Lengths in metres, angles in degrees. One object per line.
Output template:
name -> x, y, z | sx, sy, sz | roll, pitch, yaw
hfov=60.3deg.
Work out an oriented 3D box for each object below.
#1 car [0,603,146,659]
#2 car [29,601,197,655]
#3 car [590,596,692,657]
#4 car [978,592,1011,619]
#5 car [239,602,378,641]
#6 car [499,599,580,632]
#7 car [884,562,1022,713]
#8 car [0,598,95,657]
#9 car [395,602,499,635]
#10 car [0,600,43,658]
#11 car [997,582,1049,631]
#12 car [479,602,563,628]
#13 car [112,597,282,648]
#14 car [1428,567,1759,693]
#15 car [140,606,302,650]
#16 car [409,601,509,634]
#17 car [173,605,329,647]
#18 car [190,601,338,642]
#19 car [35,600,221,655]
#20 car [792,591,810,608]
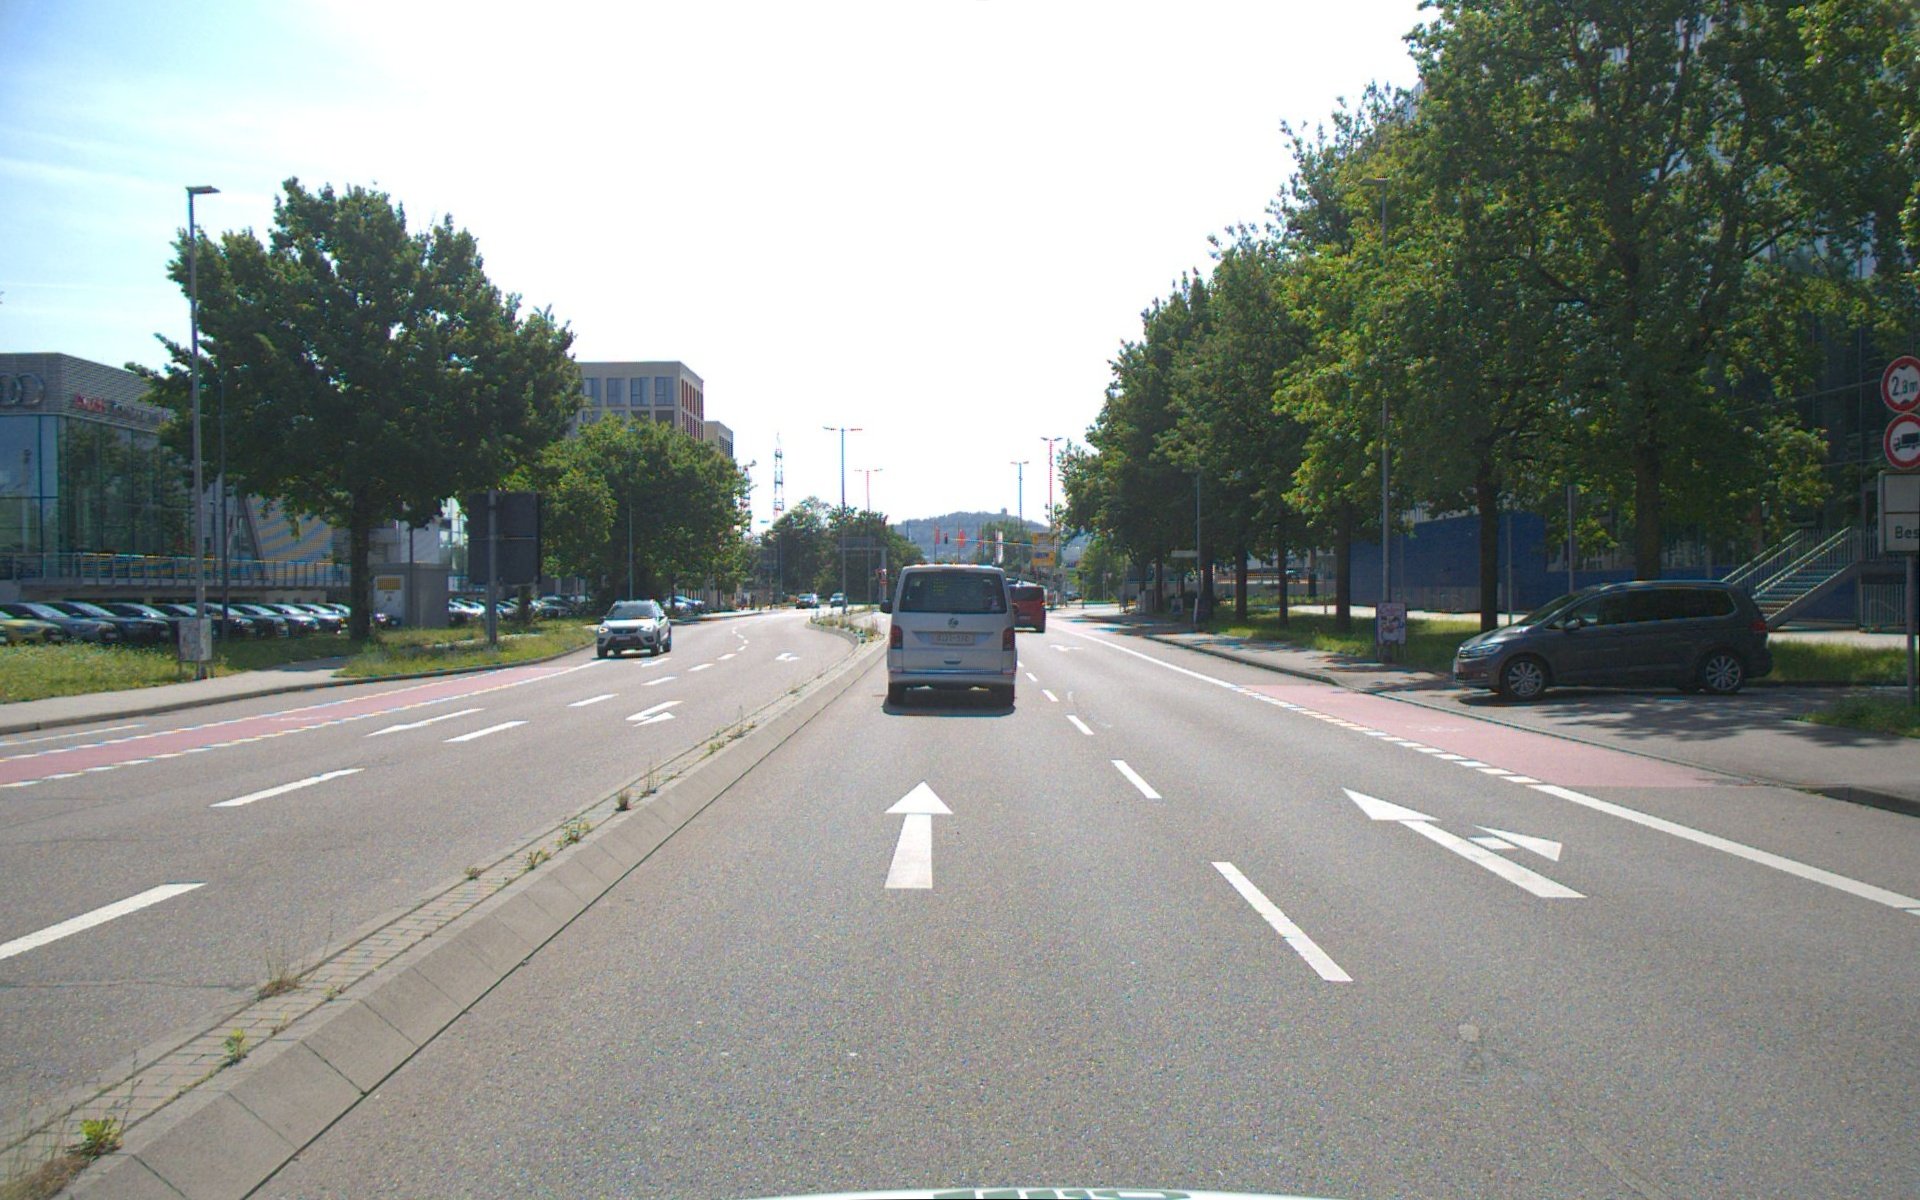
car -> -23.562, 0.808, 43.315 | 3.522, 1.307, 1.864 | -3, 0, -3
car -> -23.528, 0.769, 46.038 | 3.606, 1.307, 1.984 | -3, 0, -3
car -> -9.405, 0.741, 49.113 | 1.952, 1.646, 4.106 | -2, 0, 3
car -> 1.950, 0.286, 94.240 | 1.711, 1.484, 4.475 | 1, 0, -1
car -> -24.217, 0.789, 61.596 | 4.409, 1.312, 1.918 | -1, 0, -3
car -> -23.364, 0.853, 92.079 | 3.906, 1.467, 2.000 | -4, 0, 0
car -> -0.117, 0.492, 24.438 | 1.846, 2.025, 3.999 | 1, 0, -1
car -> -23.766, 0.724, 40.816 | 3.809, 1.364, 1.839 | -3, 0, -3
car -> -23.611, 0.858, 76.264 | 4.091, 1.176, 2.086 | -4, 1, -3
car -> -23.511, 0.731, 38.198 | 3.667, 1.307, 1.662 | -3, 0, -3
car -> 2.707, 0.259, 72.107 | 1.928, 2.002, 5.124 | 1, 0, -1
car -> -23.398, 0.783, 88.232 | 4.026, 1.052, 1.696 | -4, 0, -3
car -> -23.870, 0.686, 51.845 | 4.409, 1.502, 1.918 | -1, 0, -3
car -> 9.559, 0.449, 25.246 | 4.350, 1.723, 1.846 | -2, 0, 6
car -> -24.023, 0.901, 53.887 | 4.409, 1.312, 1.918 | -1, 0, -3
car -> -23.829, 0.833, 78.764 | 4.091, 1.211, 1.954 | -4, 1, -3
car -> -23.923, 0.861, 55.901 | 4.409, 1.312, 1.918 | -1, 0, -3
car -> -24.216, 0.748, 57.687 | 4.409, 1.312, 1.691 | -1, 0, -3
car -> -24.238, 0.793, 48.309 | 4.409, 1.502, 1.979 | -1, 0, -3
car -> -16.791, -0.042, 174.743 | 1.704, 1.646, 4.207 | -3, 0, -3
